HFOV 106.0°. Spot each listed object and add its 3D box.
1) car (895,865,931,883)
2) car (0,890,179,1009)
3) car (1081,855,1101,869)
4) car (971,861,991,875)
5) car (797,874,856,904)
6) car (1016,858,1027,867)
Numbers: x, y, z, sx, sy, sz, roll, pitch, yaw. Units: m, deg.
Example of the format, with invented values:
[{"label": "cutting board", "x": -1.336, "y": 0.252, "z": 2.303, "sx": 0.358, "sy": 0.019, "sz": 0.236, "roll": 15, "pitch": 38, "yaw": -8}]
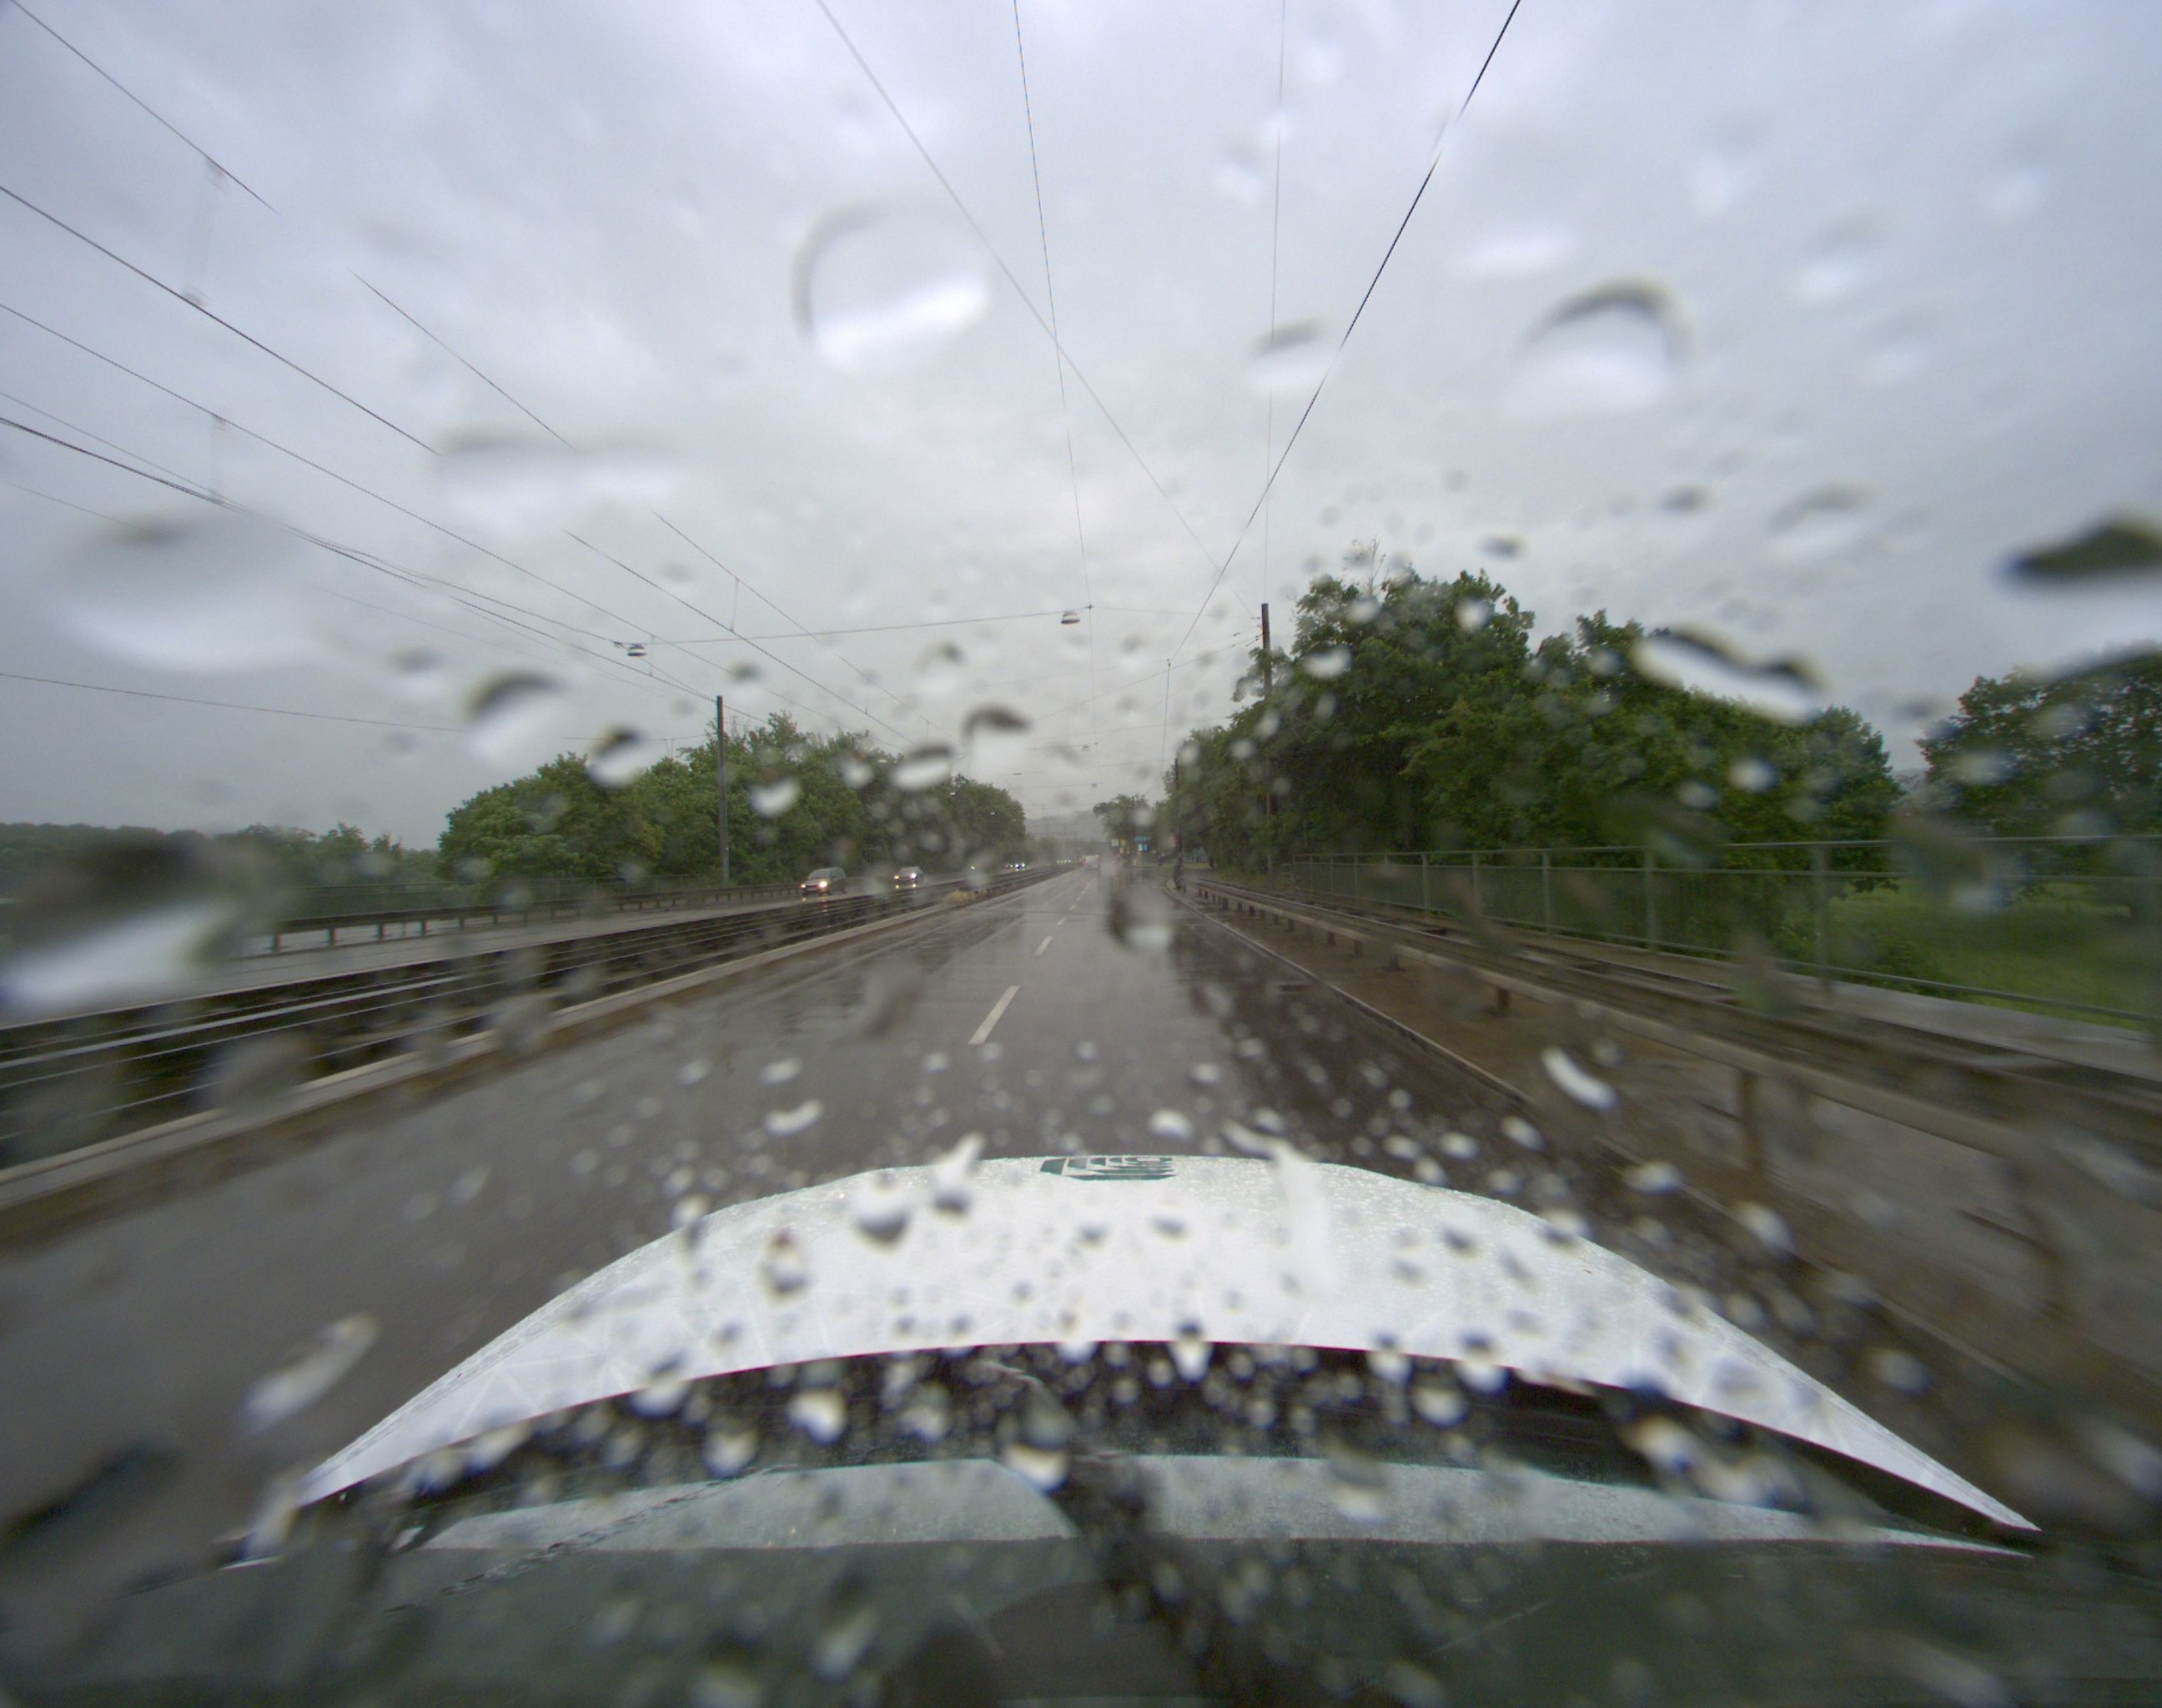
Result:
[{"label": "car", "x": -14.329, "y": 1.702, "z": 69.832, "sx": 1.986, "sy": 1.388, "sz": 4.854, "roll": -2, "pitch": 0, "yaw": 1}, {"label": "car", "x": -16.062, "y": 1.398, "z": 11.621, "sx": 1.839, "sy": 1.594, "sz": 4.002, "roll": -1, "pitch": -1, "yaw": 2}, {"label": "car", "x": 1.124, "y": 0.891, "z": 90.928, "sx": 2.069, "sy": 1.420, "sz": 4.002, "roll": -3, "pitch": -1, "yaw": 2}, {"label": "car", "x": -13.359, "y": 1.887, "z": 108.880, "sx": 1.986, "sy": 1.672, "sz": 4.873, "roll": -2, "pitch": 0, "yaw": 1}, {"label": "car", "x": -14.712, "y": 1.979, "z": 47.318, "sx": 1.834, "sy": 1.574, "sz": 4.387, "roll": -1, "pitch": -1, "yaw": 2}, {"label": "car", "x": -12.404, "y": 1.806, "z": 169.835, "sx": 1.986, "sy": 1.783, "sz": 4.001, "roll": 3, "pitch": 0, "yaw": 1}]
